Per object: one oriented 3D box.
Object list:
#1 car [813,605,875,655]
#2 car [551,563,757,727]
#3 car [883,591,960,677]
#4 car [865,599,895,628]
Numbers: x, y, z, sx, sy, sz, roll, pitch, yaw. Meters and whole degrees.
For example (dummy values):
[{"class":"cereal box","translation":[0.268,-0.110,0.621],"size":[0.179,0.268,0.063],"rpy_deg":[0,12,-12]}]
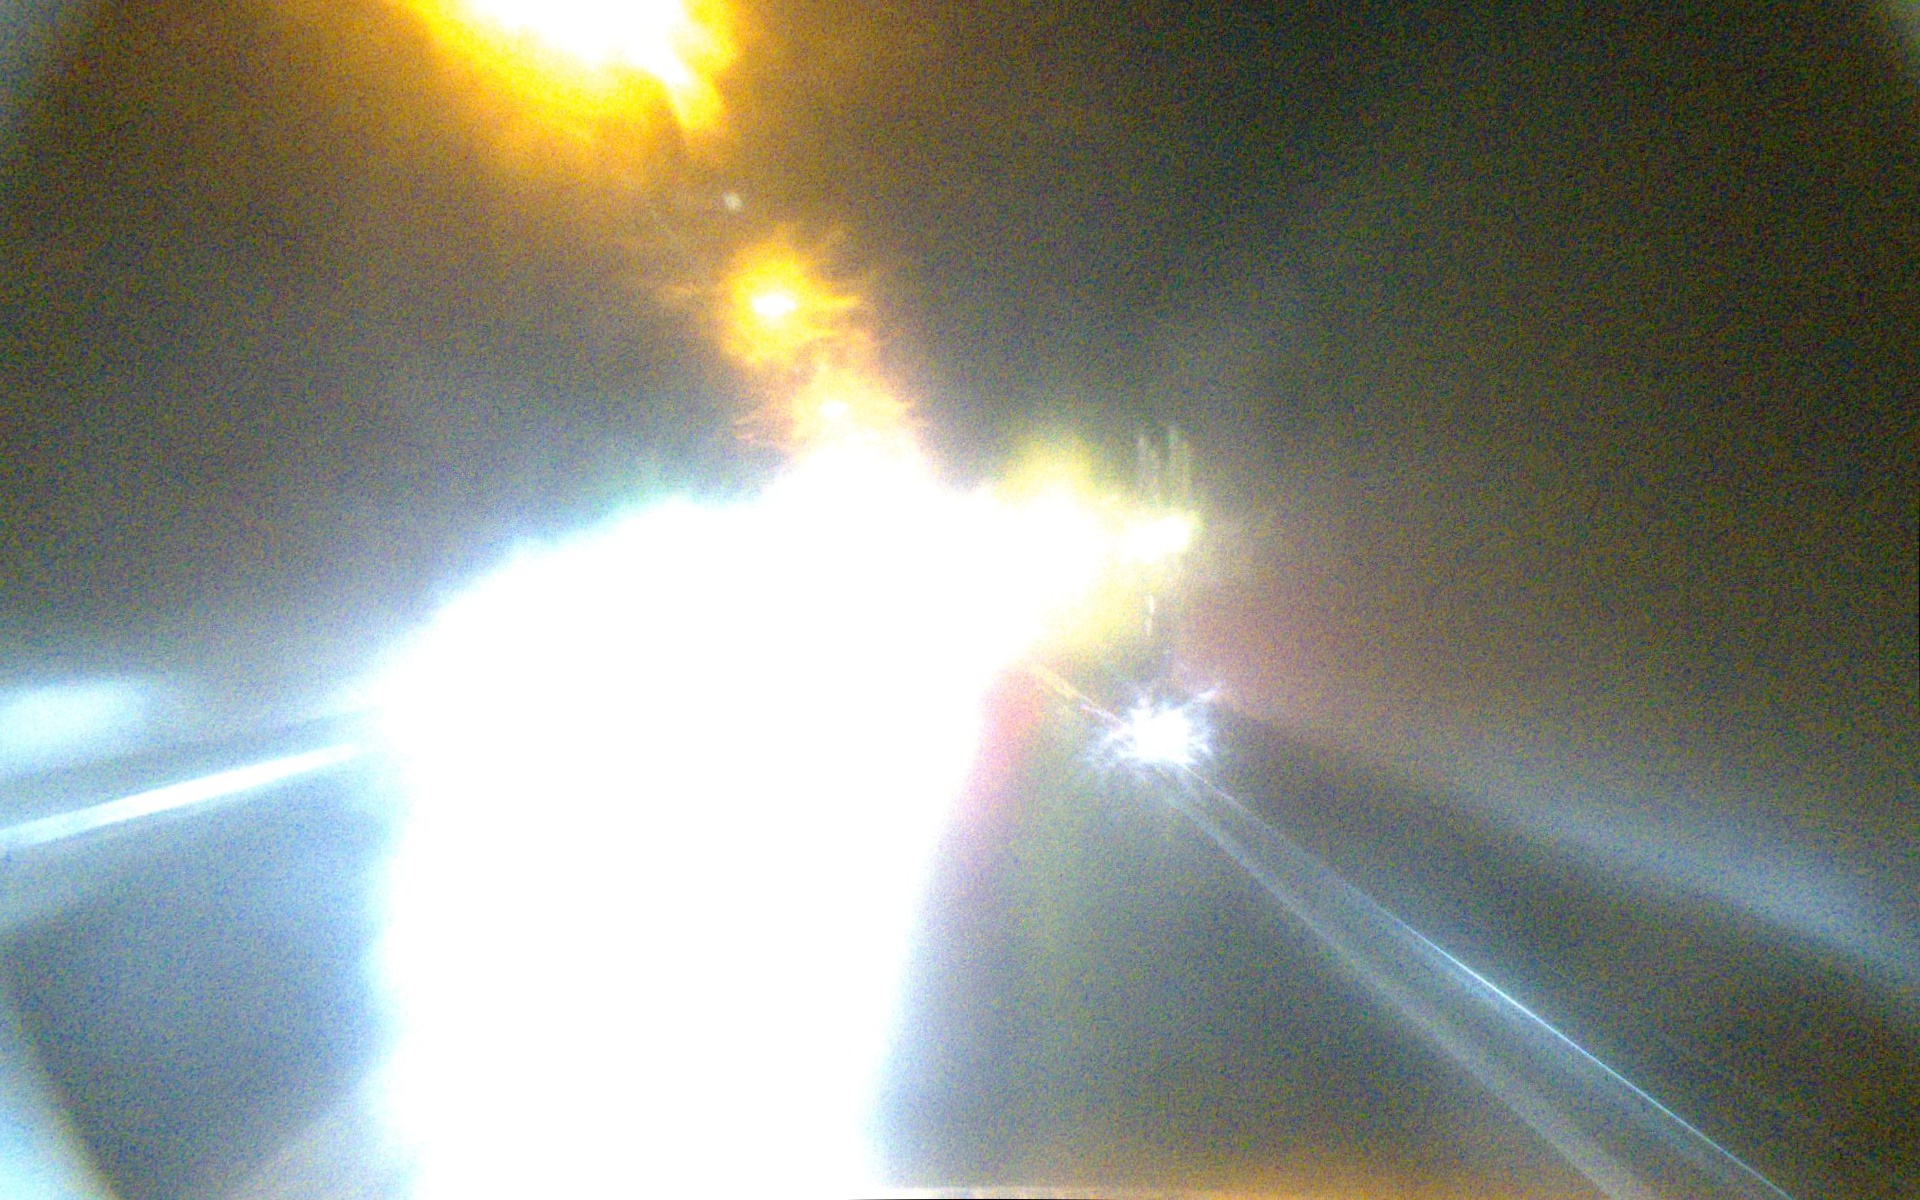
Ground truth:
[{"class":"car","translation":[-3.704,0.933,53.599],"size":[1.713,1.506,4.475],"rpy_deg":[-1,0,0]},{"class":"car","translation":[-3.452,0.460,19.360],"size":[1.662,1.705,4.127],"rpy_deg":[-1,0,0]},{"class":"car","translation":[-0.812,0.695,36.438],"size":[1.602,1.788,4.145],"rpy_deg":[-1,0,0]},{"class":"car","translation":[-4.533,0.746,93.934],"size":[1.489,1.576,4.054],"rpy_deg":[-1,1,0]}]
